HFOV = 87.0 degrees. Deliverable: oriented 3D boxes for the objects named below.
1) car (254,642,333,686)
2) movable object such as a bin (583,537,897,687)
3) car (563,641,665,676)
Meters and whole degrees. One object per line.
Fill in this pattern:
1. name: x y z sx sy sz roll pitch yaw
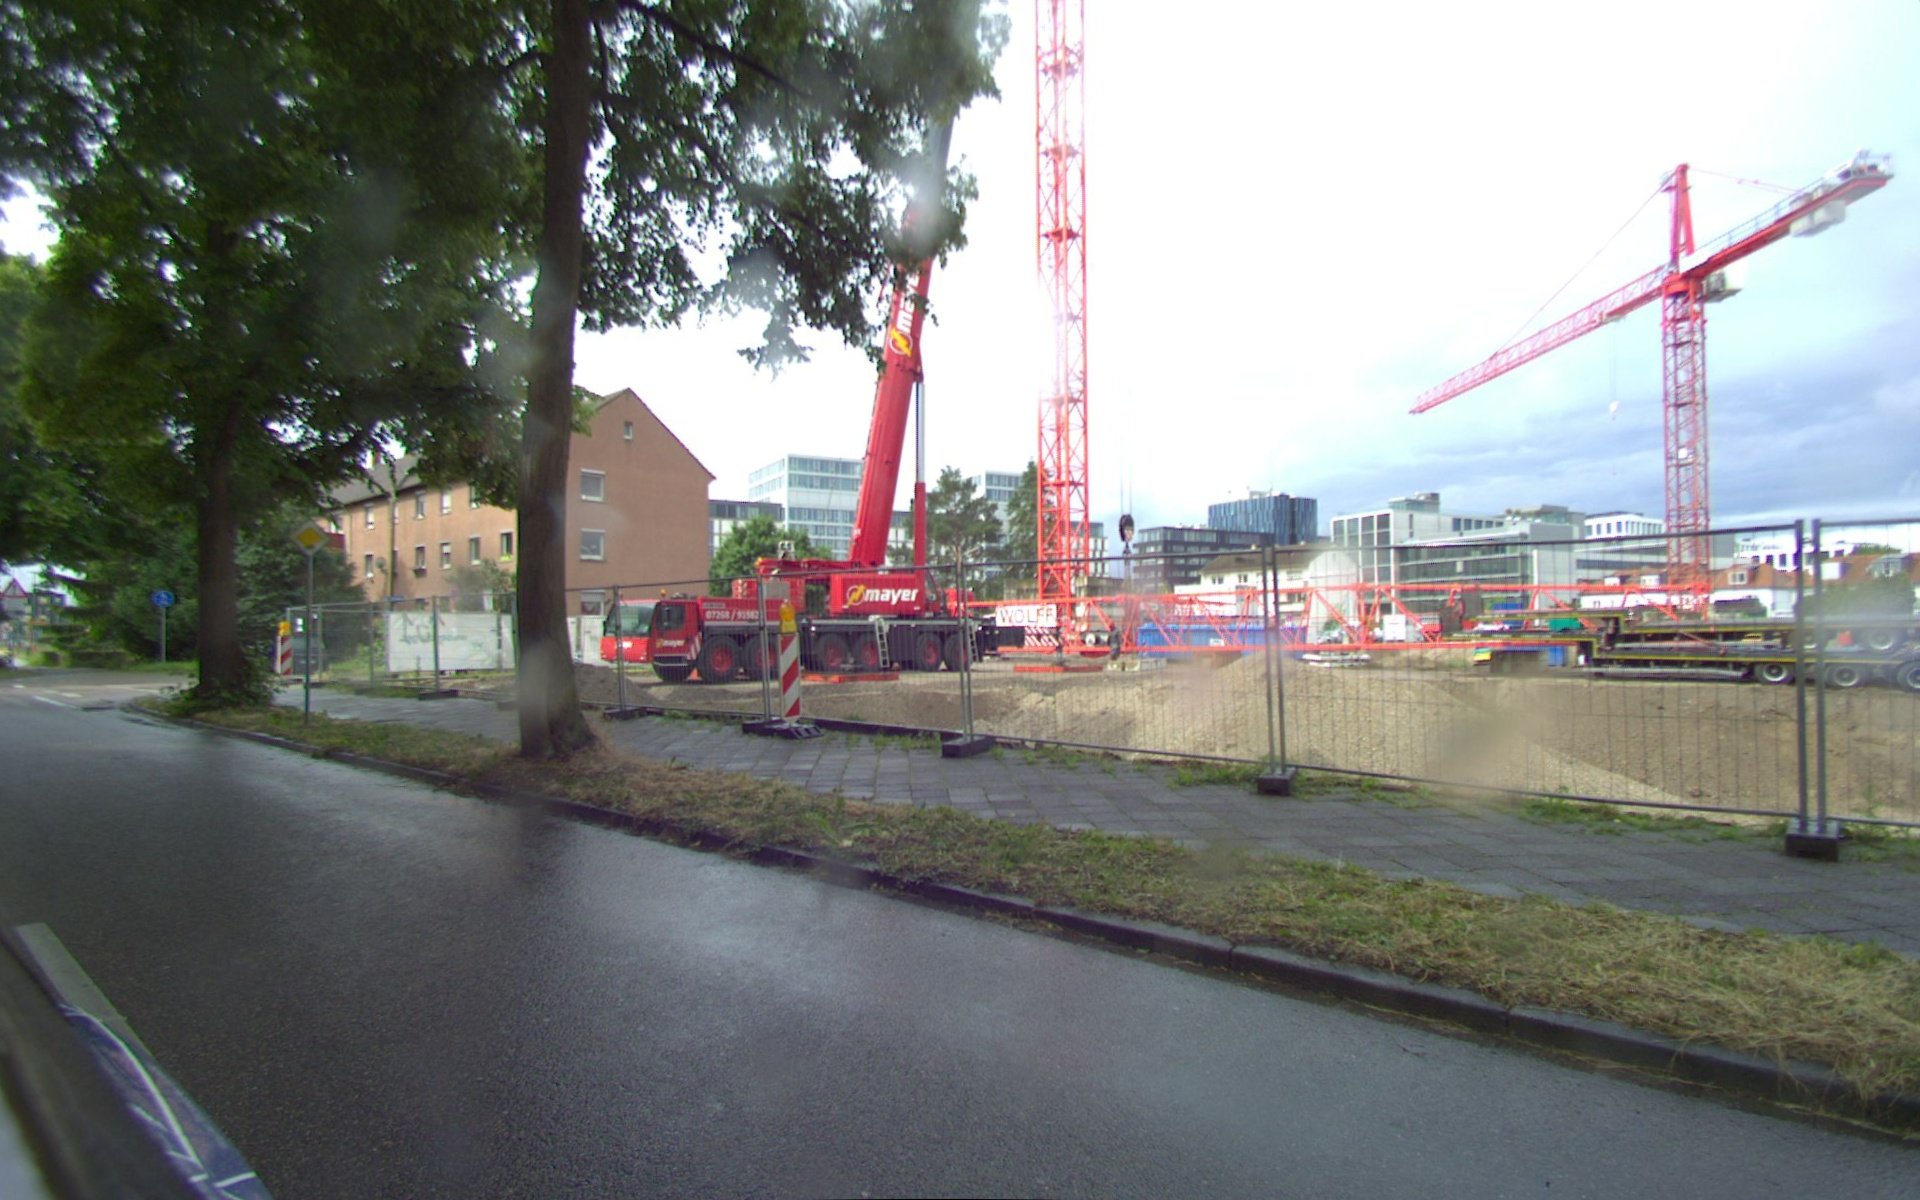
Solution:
1. car: -25.536 2.407 38.712 3.869 1.431 1.607 0 0 42
2. movable object such as a bin: -6.720 0.441 32.624 3.366 4.147 9.704 -3 -3 43
3. car: -14.820 2.481 43.547 1.721 1.424 4.026 -2 -2 29
